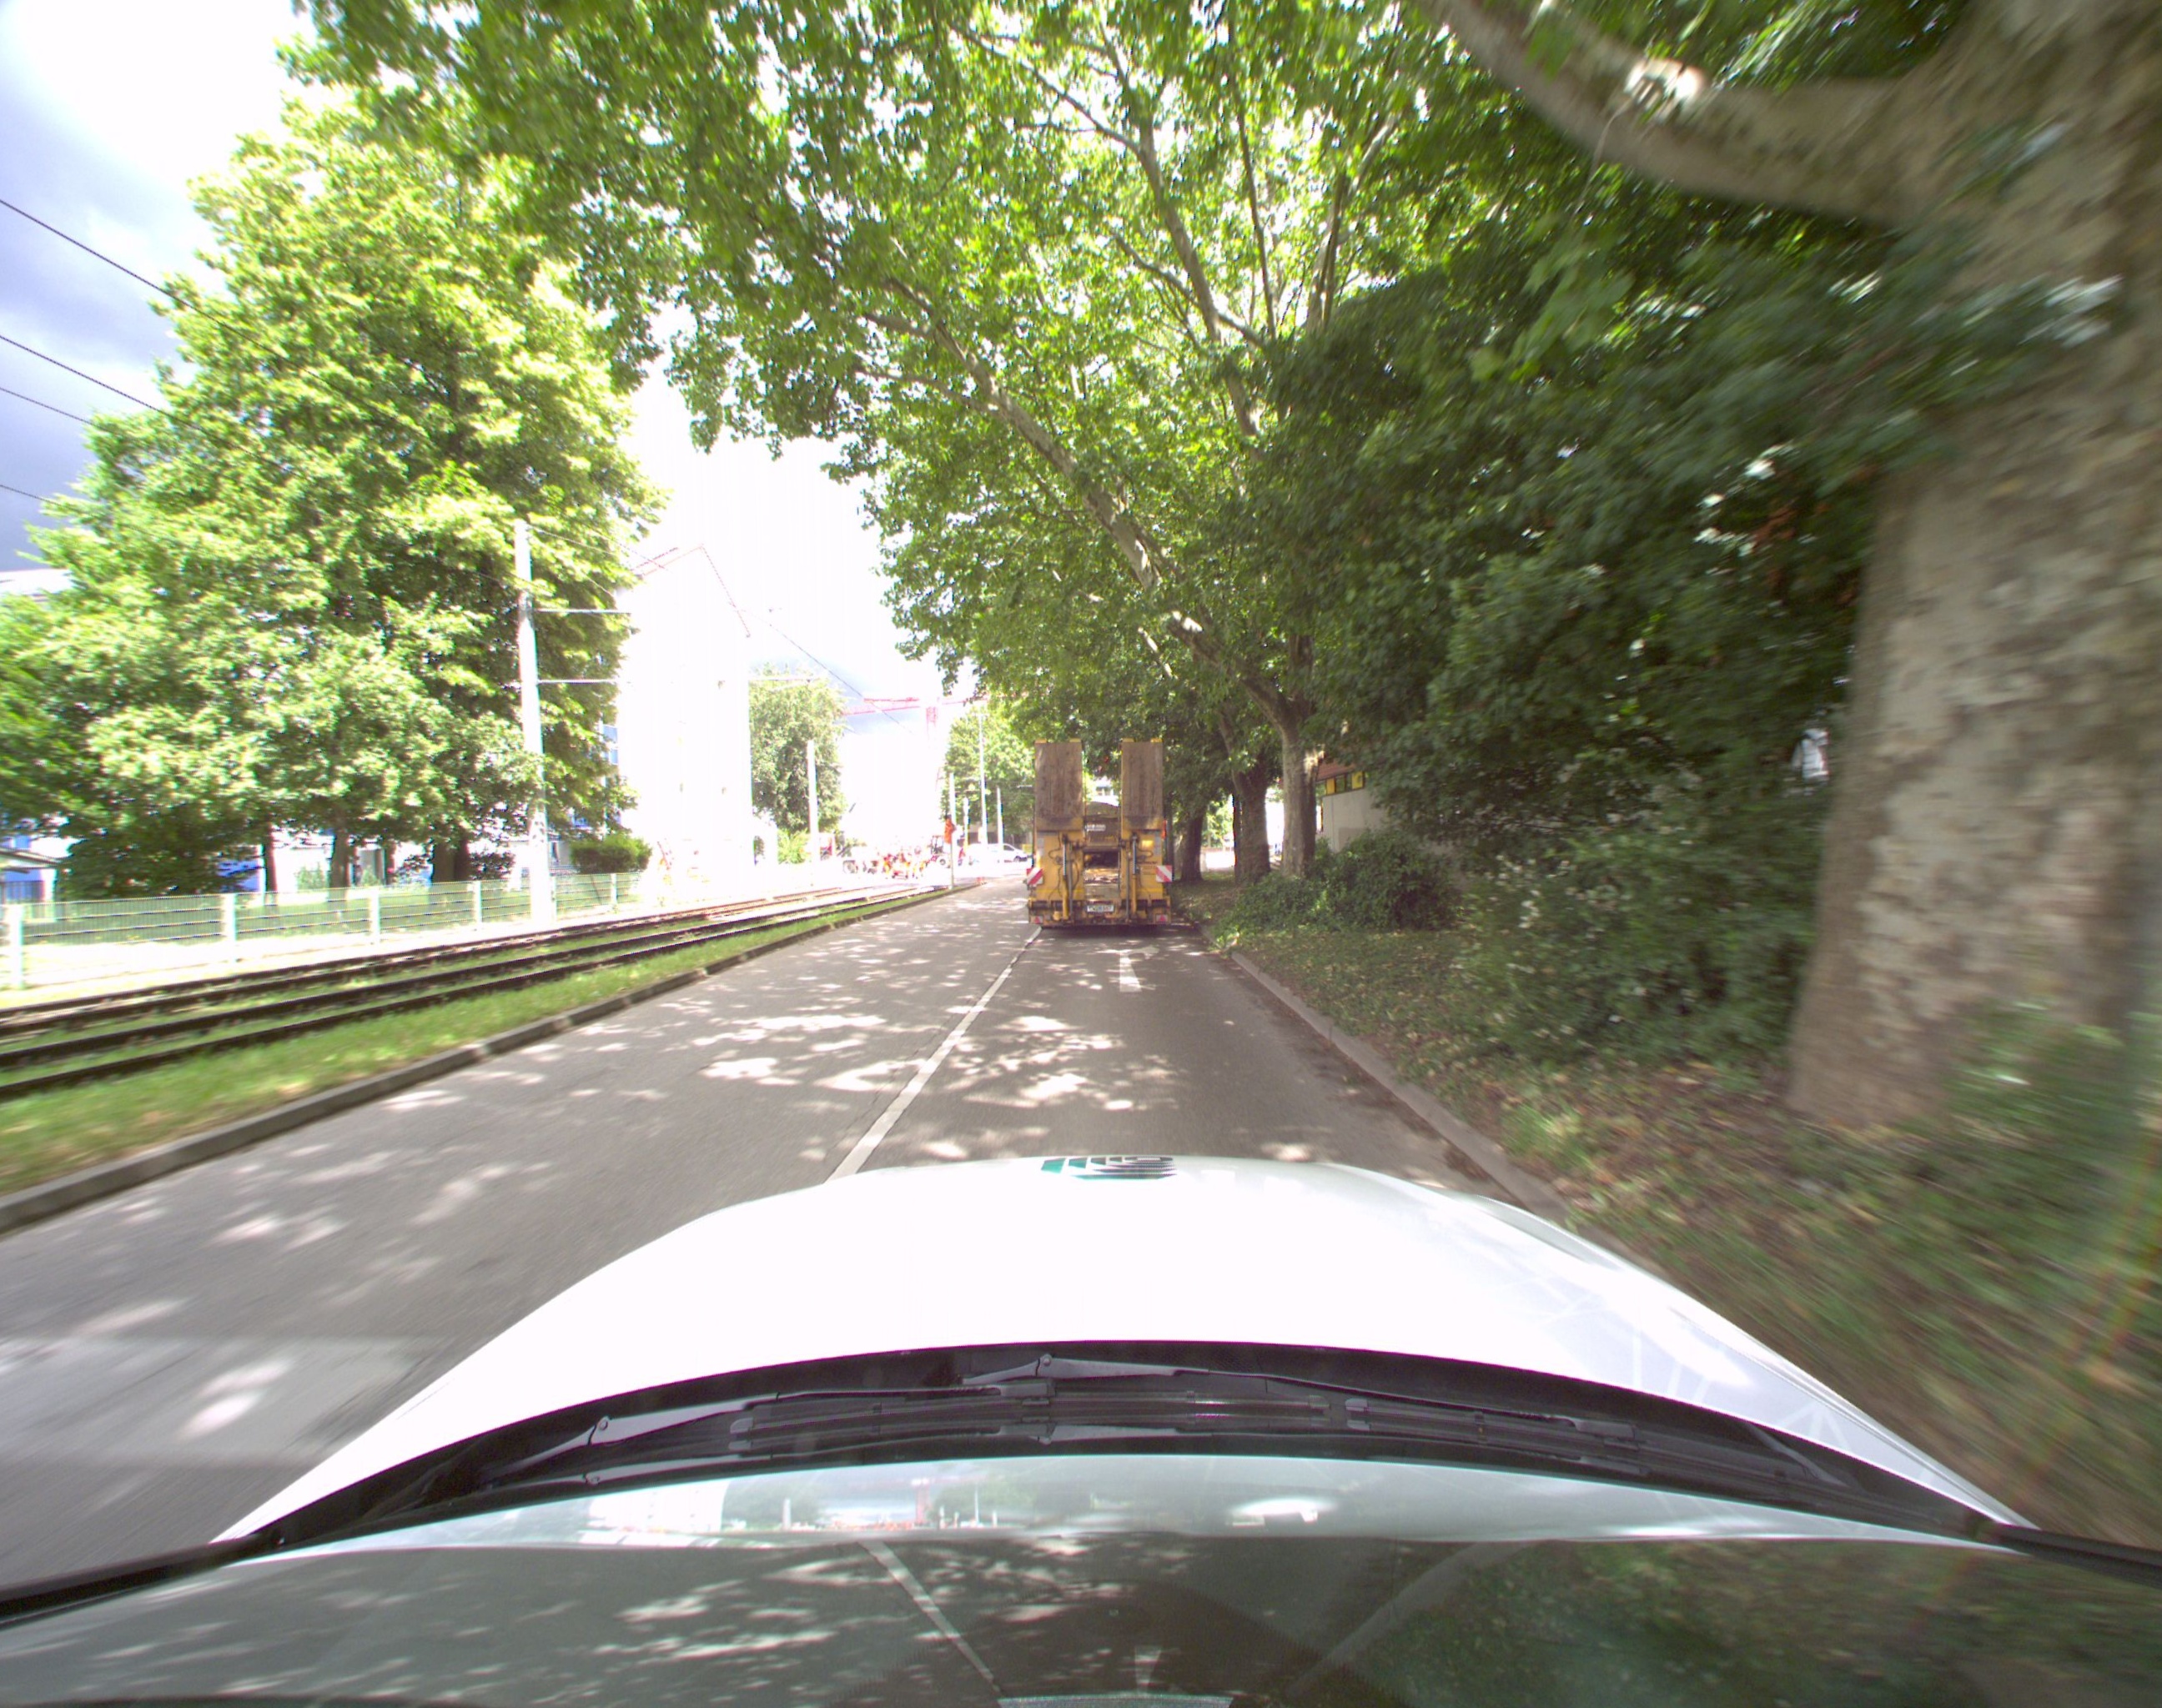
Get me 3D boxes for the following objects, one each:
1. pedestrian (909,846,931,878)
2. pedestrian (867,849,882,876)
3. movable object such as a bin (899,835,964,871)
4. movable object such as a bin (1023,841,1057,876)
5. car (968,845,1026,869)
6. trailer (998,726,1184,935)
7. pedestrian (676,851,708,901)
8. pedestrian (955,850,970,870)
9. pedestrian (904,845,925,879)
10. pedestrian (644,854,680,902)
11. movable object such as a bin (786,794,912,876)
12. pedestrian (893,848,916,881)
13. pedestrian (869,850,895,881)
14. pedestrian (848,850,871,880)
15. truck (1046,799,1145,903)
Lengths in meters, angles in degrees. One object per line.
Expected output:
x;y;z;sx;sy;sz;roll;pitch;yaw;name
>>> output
-9.288;0.463;47.053;0.877;1.867;0.842;-1;-1;29;pedestrian
-12.877;0.541;50.790;0.886;1.645;0.896;-1;-1;-12;pedestrian
-11.434;-0.075;62.222;4.326;2.629;2.233;-2;-1;27;movable object such as a bin
-2.421;0.280;48.258;1.389;2.014;2.564;-1;-1;12;movable object such as a bin
-7.701;0.269;74.573;5.096;2.102;1.967;-1;0;-14;car
0.287;-0.353;19.651;3.143;3.553;11.098;-1;-1;1;trailer
-13.740;0.775;28.781;0.697;1.718;0.867;-1;-1;1;pedestrian
-8.677;0.424;59.641;0.913;1.409;0.752;-1;-1;-2;pedestrian
-9.195;0.442;45.017;0.890;1.867;0.829;-1;-1;-28;pedestrian
-14.584;0.840;28.368;0.729;1.625;0.867;-2;-1;1;pedestrian
-16.616;-1.250;58.034;9.116;5.415;2.680;-2;-1;27;movable object such as a bin
-9.516;0.578;44.003;0.879;1.760;0.840;-1;-1;15;pedestrian
-11.035;0.623;45.165;1.117;1.715;0.877;0;-1;-44;pedestrian
-12.462;0.615;45.763;0.826;1.645;0.894;-2;-1;35;pedestrian
0.525;-0.053;29.136;2.979;3.135;7.889;-1;-1;1;truck
